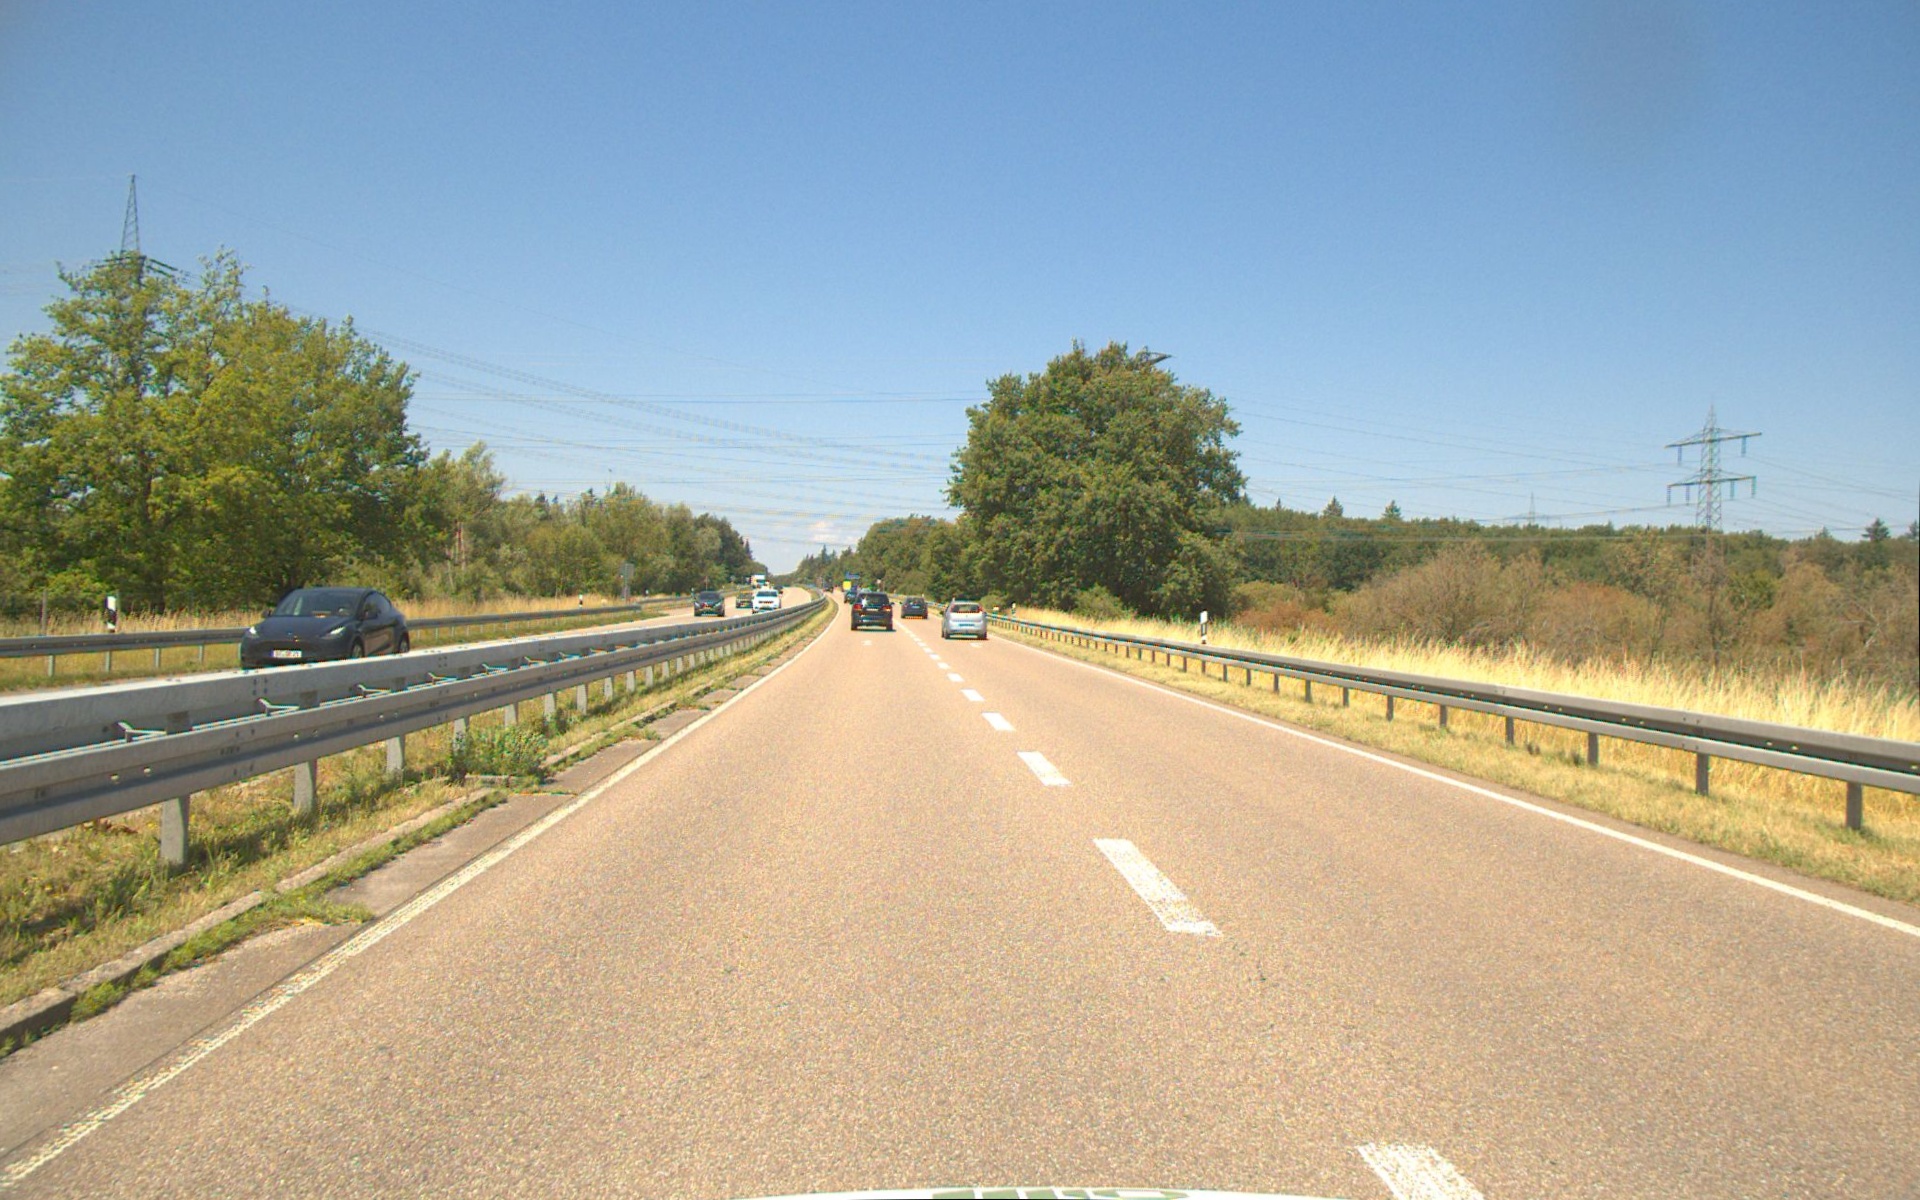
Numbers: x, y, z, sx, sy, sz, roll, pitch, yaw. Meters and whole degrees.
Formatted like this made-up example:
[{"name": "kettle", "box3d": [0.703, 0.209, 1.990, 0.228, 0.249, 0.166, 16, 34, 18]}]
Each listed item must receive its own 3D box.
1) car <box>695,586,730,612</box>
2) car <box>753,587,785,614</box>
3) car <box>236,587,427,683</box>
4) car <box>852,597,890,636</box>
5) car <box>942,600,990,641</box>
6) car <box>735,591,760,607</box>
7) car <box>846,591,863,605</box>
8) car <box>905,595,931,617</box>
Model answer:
[{"name": "car", "box3d": [-16.121, -0.073, 107.854, 1.805, 1.646, 4.168, 1, 0, -3]}, {"name": "car", "box3d": [-13.590, 0.027, 117.677, 1.940, 1.839, 4.965, 1, 0, -3]}, {"name": "car", "box3d": [-11.568, 0.601, 30.849, 1.954, 1.636, 4.958, 1, 0, -4]}, {"name": "car", "box3d": [-4.071, 0.732, 75.572, 1.608, 1.682, 3.572, 3, 0, -3]}, {"name": "car", "box3d": [0.207, 0.796, 65.315, 1.608, 1.493, 3.417, 3, 0, -3]}, {"name": "car", "box3d": [-19.400, -0.094, 151.191, 1.886, 1.409, 4.655, 0, 0, -3]}, {"name": "car", "box3d": [-12.275, -0.231, 192.464, 1.680, 1.497, 3.569, 3, 0, -6]}, {"name": "car", "box3d": [-2.888, 0.413, 112.281, 1.608, 1.366, 3.572, 3, 0, -3]}]
